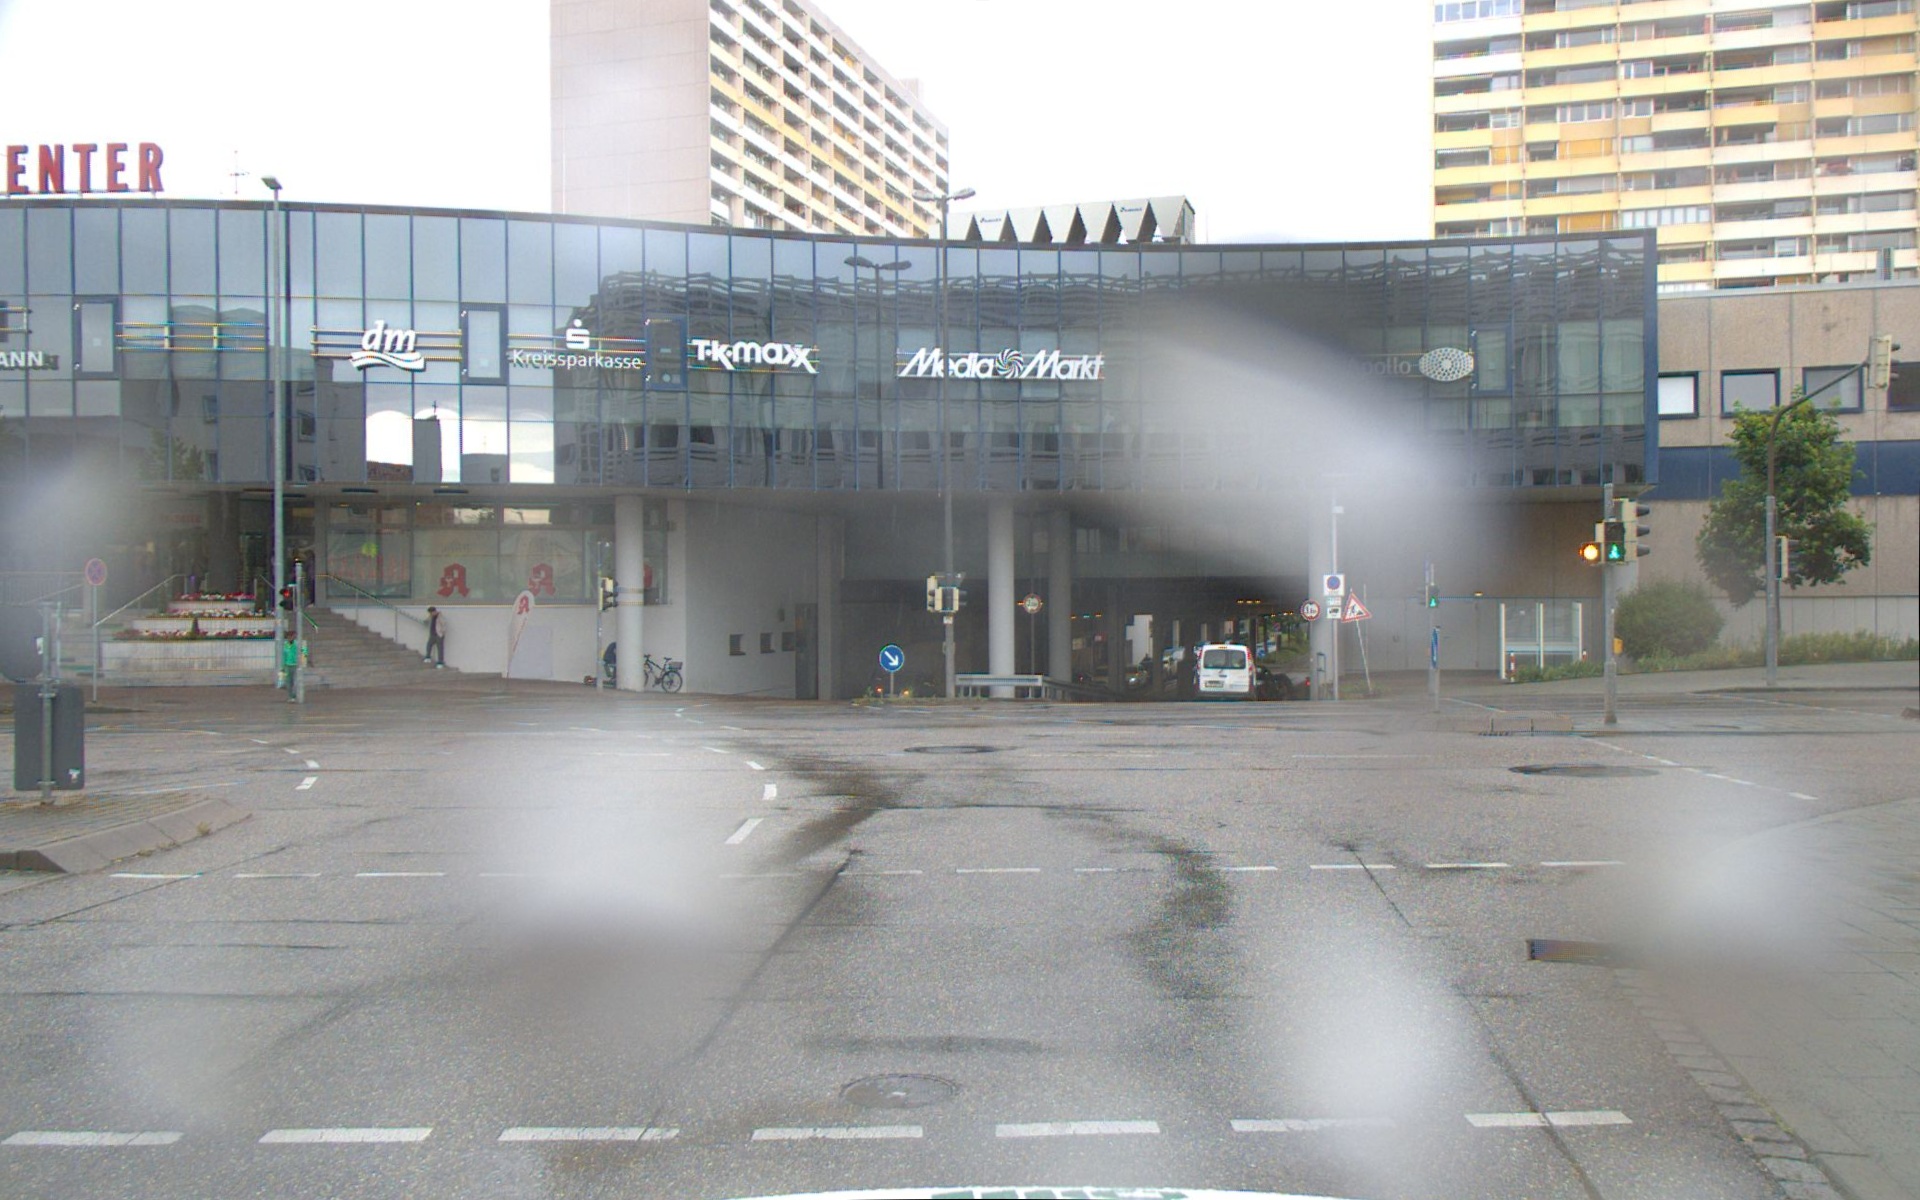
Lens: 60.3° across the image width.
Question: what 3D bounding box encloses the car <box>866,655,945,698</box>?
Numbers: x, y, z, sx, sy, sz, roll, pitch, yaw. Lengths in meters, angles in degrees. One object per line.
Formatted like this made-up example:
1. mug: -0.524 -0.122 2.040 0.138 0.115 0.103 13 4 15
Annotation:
1. car: -2.010 2.926 62.745 1.852 1.496 4.029 -1 -5 16

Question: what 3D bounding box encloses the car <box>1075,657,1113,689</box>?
1. car: 7.815 4.230 96.231 1.797 1.758 4.003 -1 -1 11

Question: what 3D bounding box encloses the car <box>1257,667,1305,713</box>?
1. car: 13.722 3.805 70.620 1.753 1.802 4.003 -1 -1 14

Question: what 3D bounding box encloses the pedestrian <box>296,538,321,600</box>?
1. pedestrian: -19.442 -0.924 49.384 0.622 1.839 0.502 1 -1 -18

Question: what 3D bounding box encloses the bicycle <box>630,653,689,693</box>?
1. bicycle: -8.825 2.153 48.646 1.566 1.035 0.447 7 -3 -31

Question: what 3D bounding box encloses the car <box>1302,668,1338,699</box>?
1. car: 19.865 4.602 91.206 1.847 1.517 3.844 1 -1 13

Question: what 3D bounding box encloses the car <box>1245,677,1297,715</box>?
1. car: 12.478 3.858 66.173 1.741 1.425 4.002 -1 -4 15

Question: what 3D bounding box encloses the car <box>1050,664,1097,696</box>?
1. car: 6.313 4.403 91.409 1.874 1.616 3.941 -1 -1 15

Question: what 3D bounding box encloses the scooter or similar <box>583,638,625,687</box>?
1. scooter or similar: -10.358 1.821 48.131 1.147 1.397 0.487 1 -1 -16

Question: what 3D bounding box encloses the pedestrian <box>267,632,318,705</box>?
1. pedestrian: -15.667 1.596 38.818 0.932 1.652 0.807 -1 -1 -10

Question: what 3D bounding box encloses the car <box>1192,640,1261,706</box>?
1. car: 7.897 2.137 48.804 1.884 1.829 4.299 -1 -2 10

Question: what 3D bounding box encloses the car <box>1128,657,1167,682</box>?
1. car: 12.453 4.599 109.716 1.951 1.489 4.003 -1 -1 15

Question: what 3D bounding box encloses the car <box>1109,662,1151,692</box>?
1. car: 10.488 4.722 102.050 1.951 1.693 4.003 1 -1 15

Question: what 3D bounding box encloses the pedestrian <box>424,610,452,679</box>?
1. pedestrian: -14.815 1.268 46.986 0.643 1.942 0.593 1 -1 -9

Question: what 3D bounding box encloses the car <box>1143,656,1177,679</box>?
1. car: 13.908 4.659 114.818 1.951 1.489 4.003 -1 -1 12

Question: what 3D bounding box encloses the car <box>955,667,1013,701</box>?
1. car: 1.102 3.784 74.484 1.733 1.490 3.878 -1 -3 15

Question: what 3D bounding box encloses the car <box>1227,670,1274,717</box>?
1. car: 10.738 3.469 61.074 1.598 1.640 4.265 -2 -4 11
